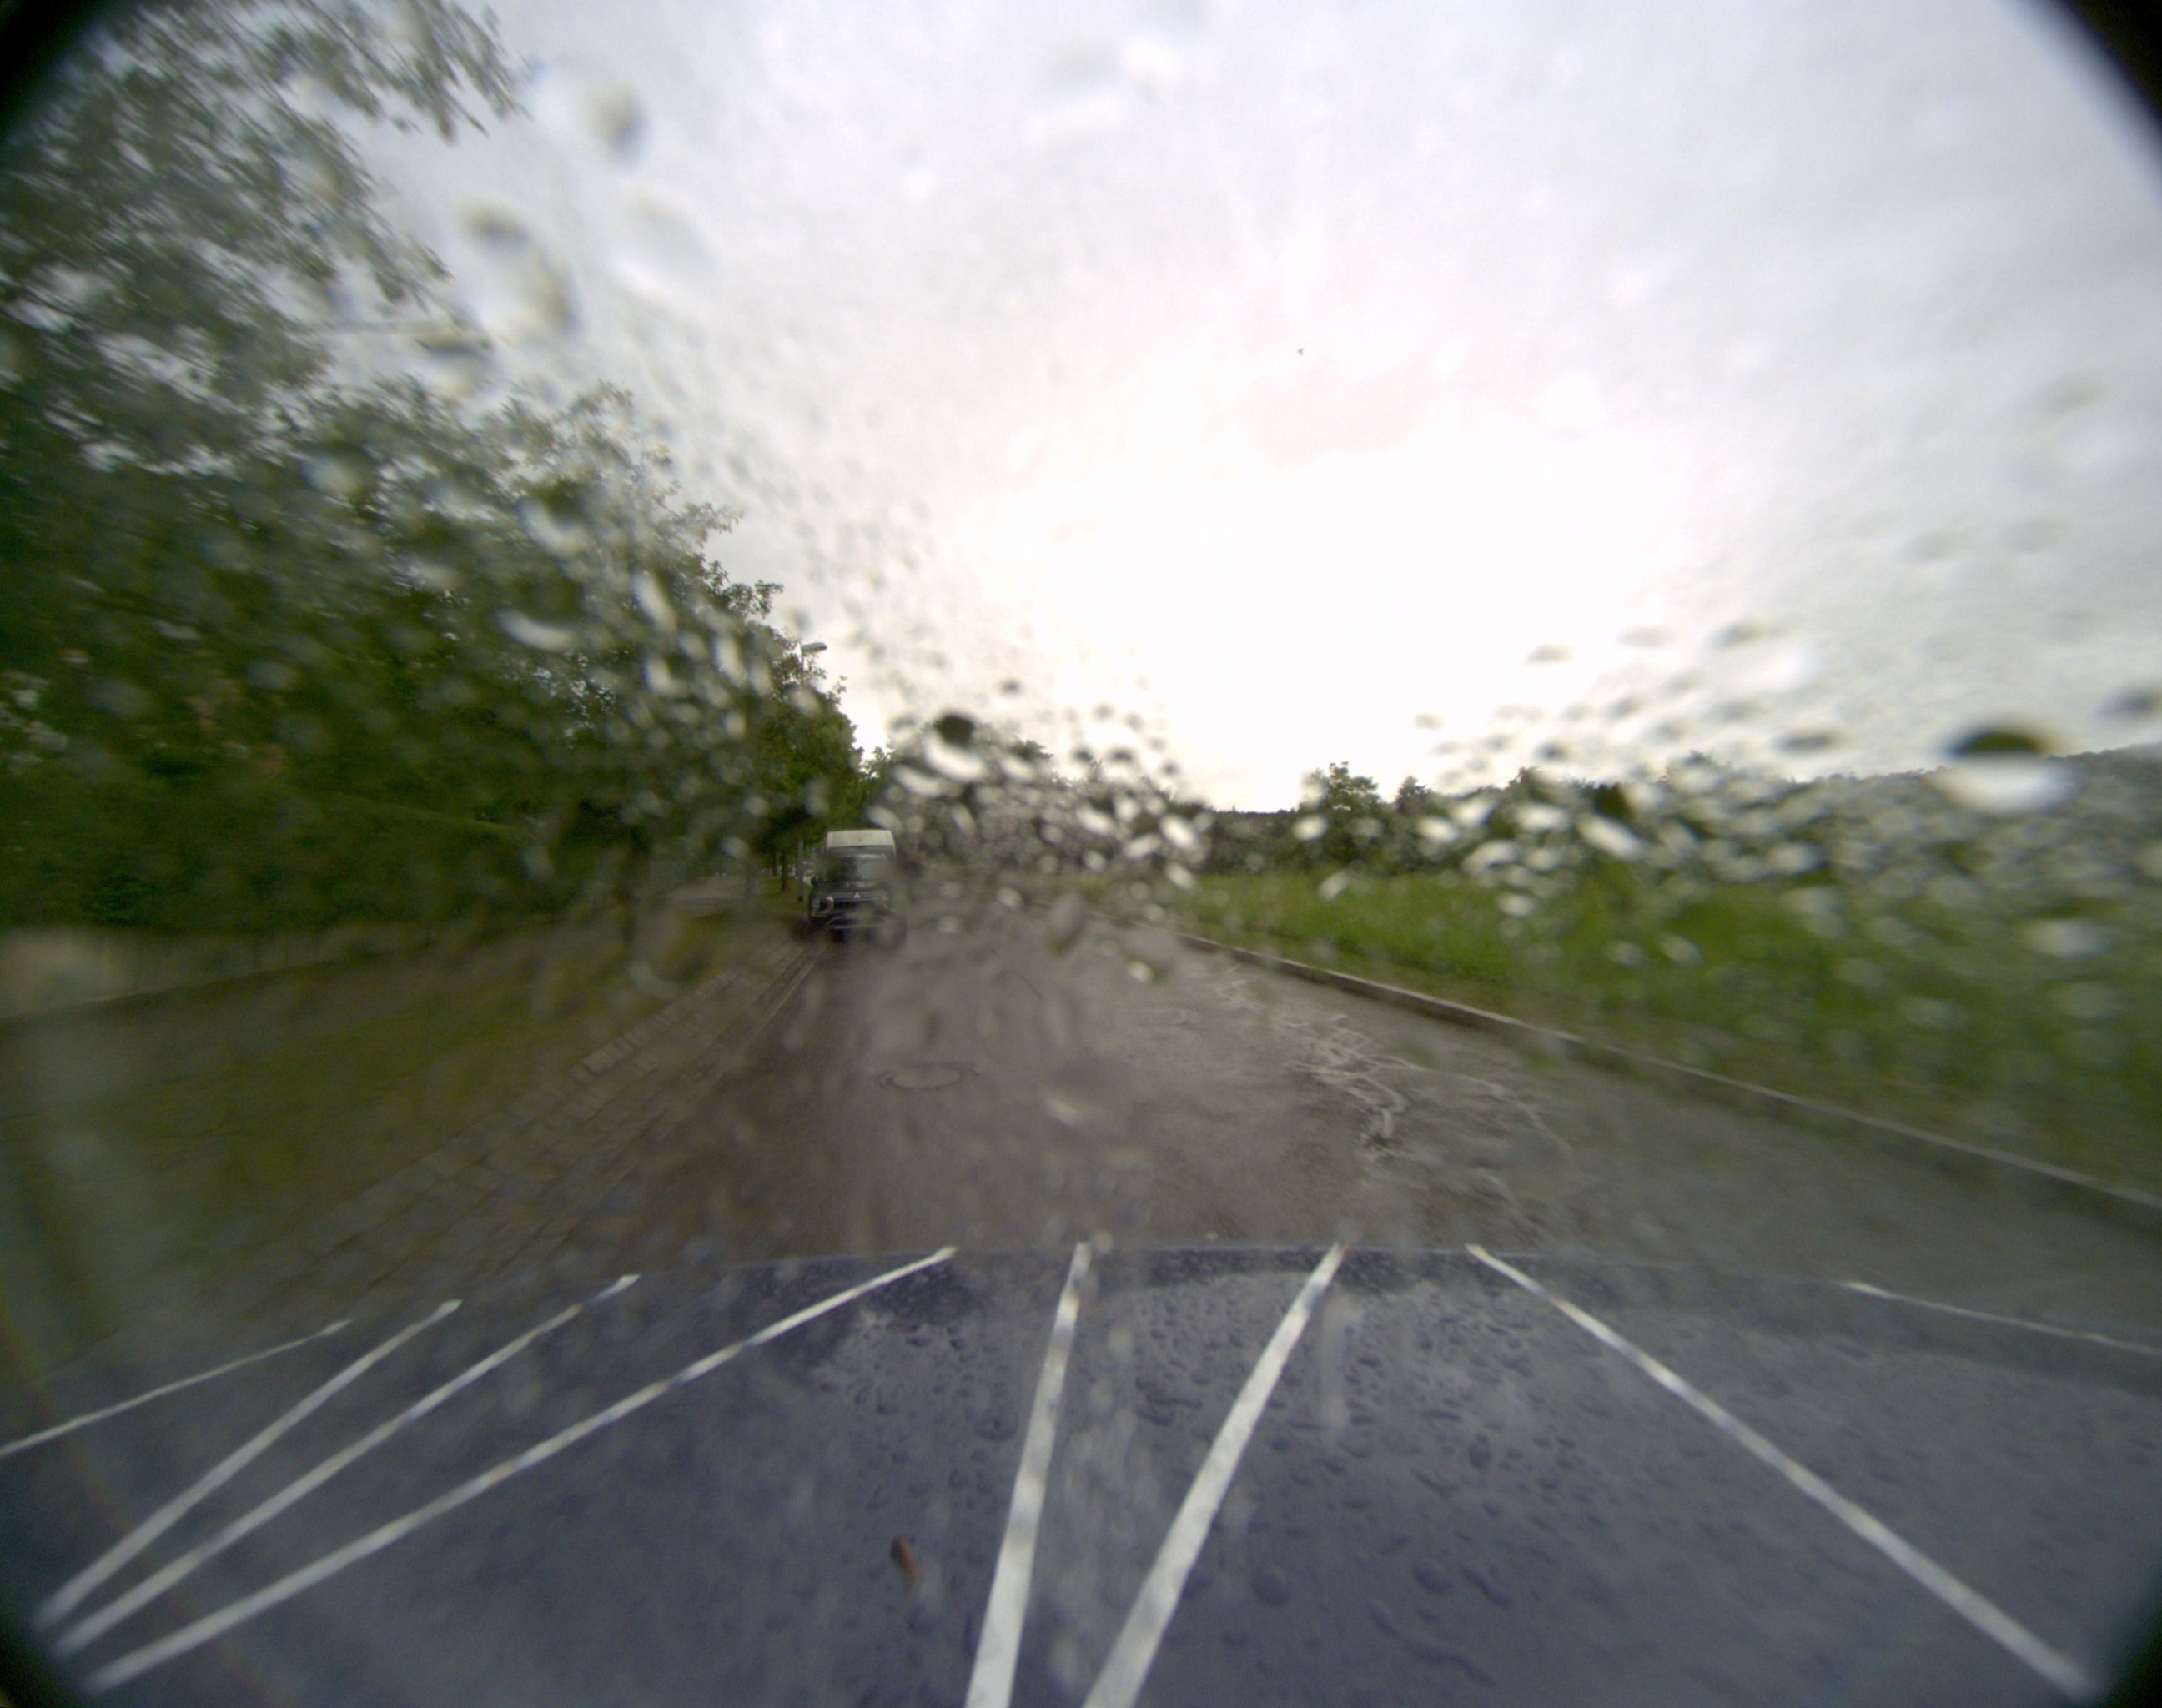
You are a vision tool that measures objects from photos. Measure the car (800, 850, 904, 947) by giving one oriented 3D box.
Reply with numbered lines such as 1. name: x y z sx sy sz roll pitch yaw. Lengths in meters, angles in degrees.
1. car: -4.772 0.803 16.374 1.818 1.717 4.646 -1 1 -13

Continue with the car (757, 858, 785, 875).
1. car: -36.011 1.376 88.208 1.980 1.838 3.988 -1 1 -39

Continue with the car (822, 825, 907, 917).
1. car: -6.402 0.425 22.162 2.056 2.317 5.399 -1 0 -18

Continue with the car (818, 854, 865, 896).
1. car: -11.528 0.940 36.455 1.827 1.775 3.811 -1 2 -22

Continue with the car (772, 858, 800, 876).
1. car: -32.367 1.422 83.237 1.980 1.838 3.989 -1 1 -34
